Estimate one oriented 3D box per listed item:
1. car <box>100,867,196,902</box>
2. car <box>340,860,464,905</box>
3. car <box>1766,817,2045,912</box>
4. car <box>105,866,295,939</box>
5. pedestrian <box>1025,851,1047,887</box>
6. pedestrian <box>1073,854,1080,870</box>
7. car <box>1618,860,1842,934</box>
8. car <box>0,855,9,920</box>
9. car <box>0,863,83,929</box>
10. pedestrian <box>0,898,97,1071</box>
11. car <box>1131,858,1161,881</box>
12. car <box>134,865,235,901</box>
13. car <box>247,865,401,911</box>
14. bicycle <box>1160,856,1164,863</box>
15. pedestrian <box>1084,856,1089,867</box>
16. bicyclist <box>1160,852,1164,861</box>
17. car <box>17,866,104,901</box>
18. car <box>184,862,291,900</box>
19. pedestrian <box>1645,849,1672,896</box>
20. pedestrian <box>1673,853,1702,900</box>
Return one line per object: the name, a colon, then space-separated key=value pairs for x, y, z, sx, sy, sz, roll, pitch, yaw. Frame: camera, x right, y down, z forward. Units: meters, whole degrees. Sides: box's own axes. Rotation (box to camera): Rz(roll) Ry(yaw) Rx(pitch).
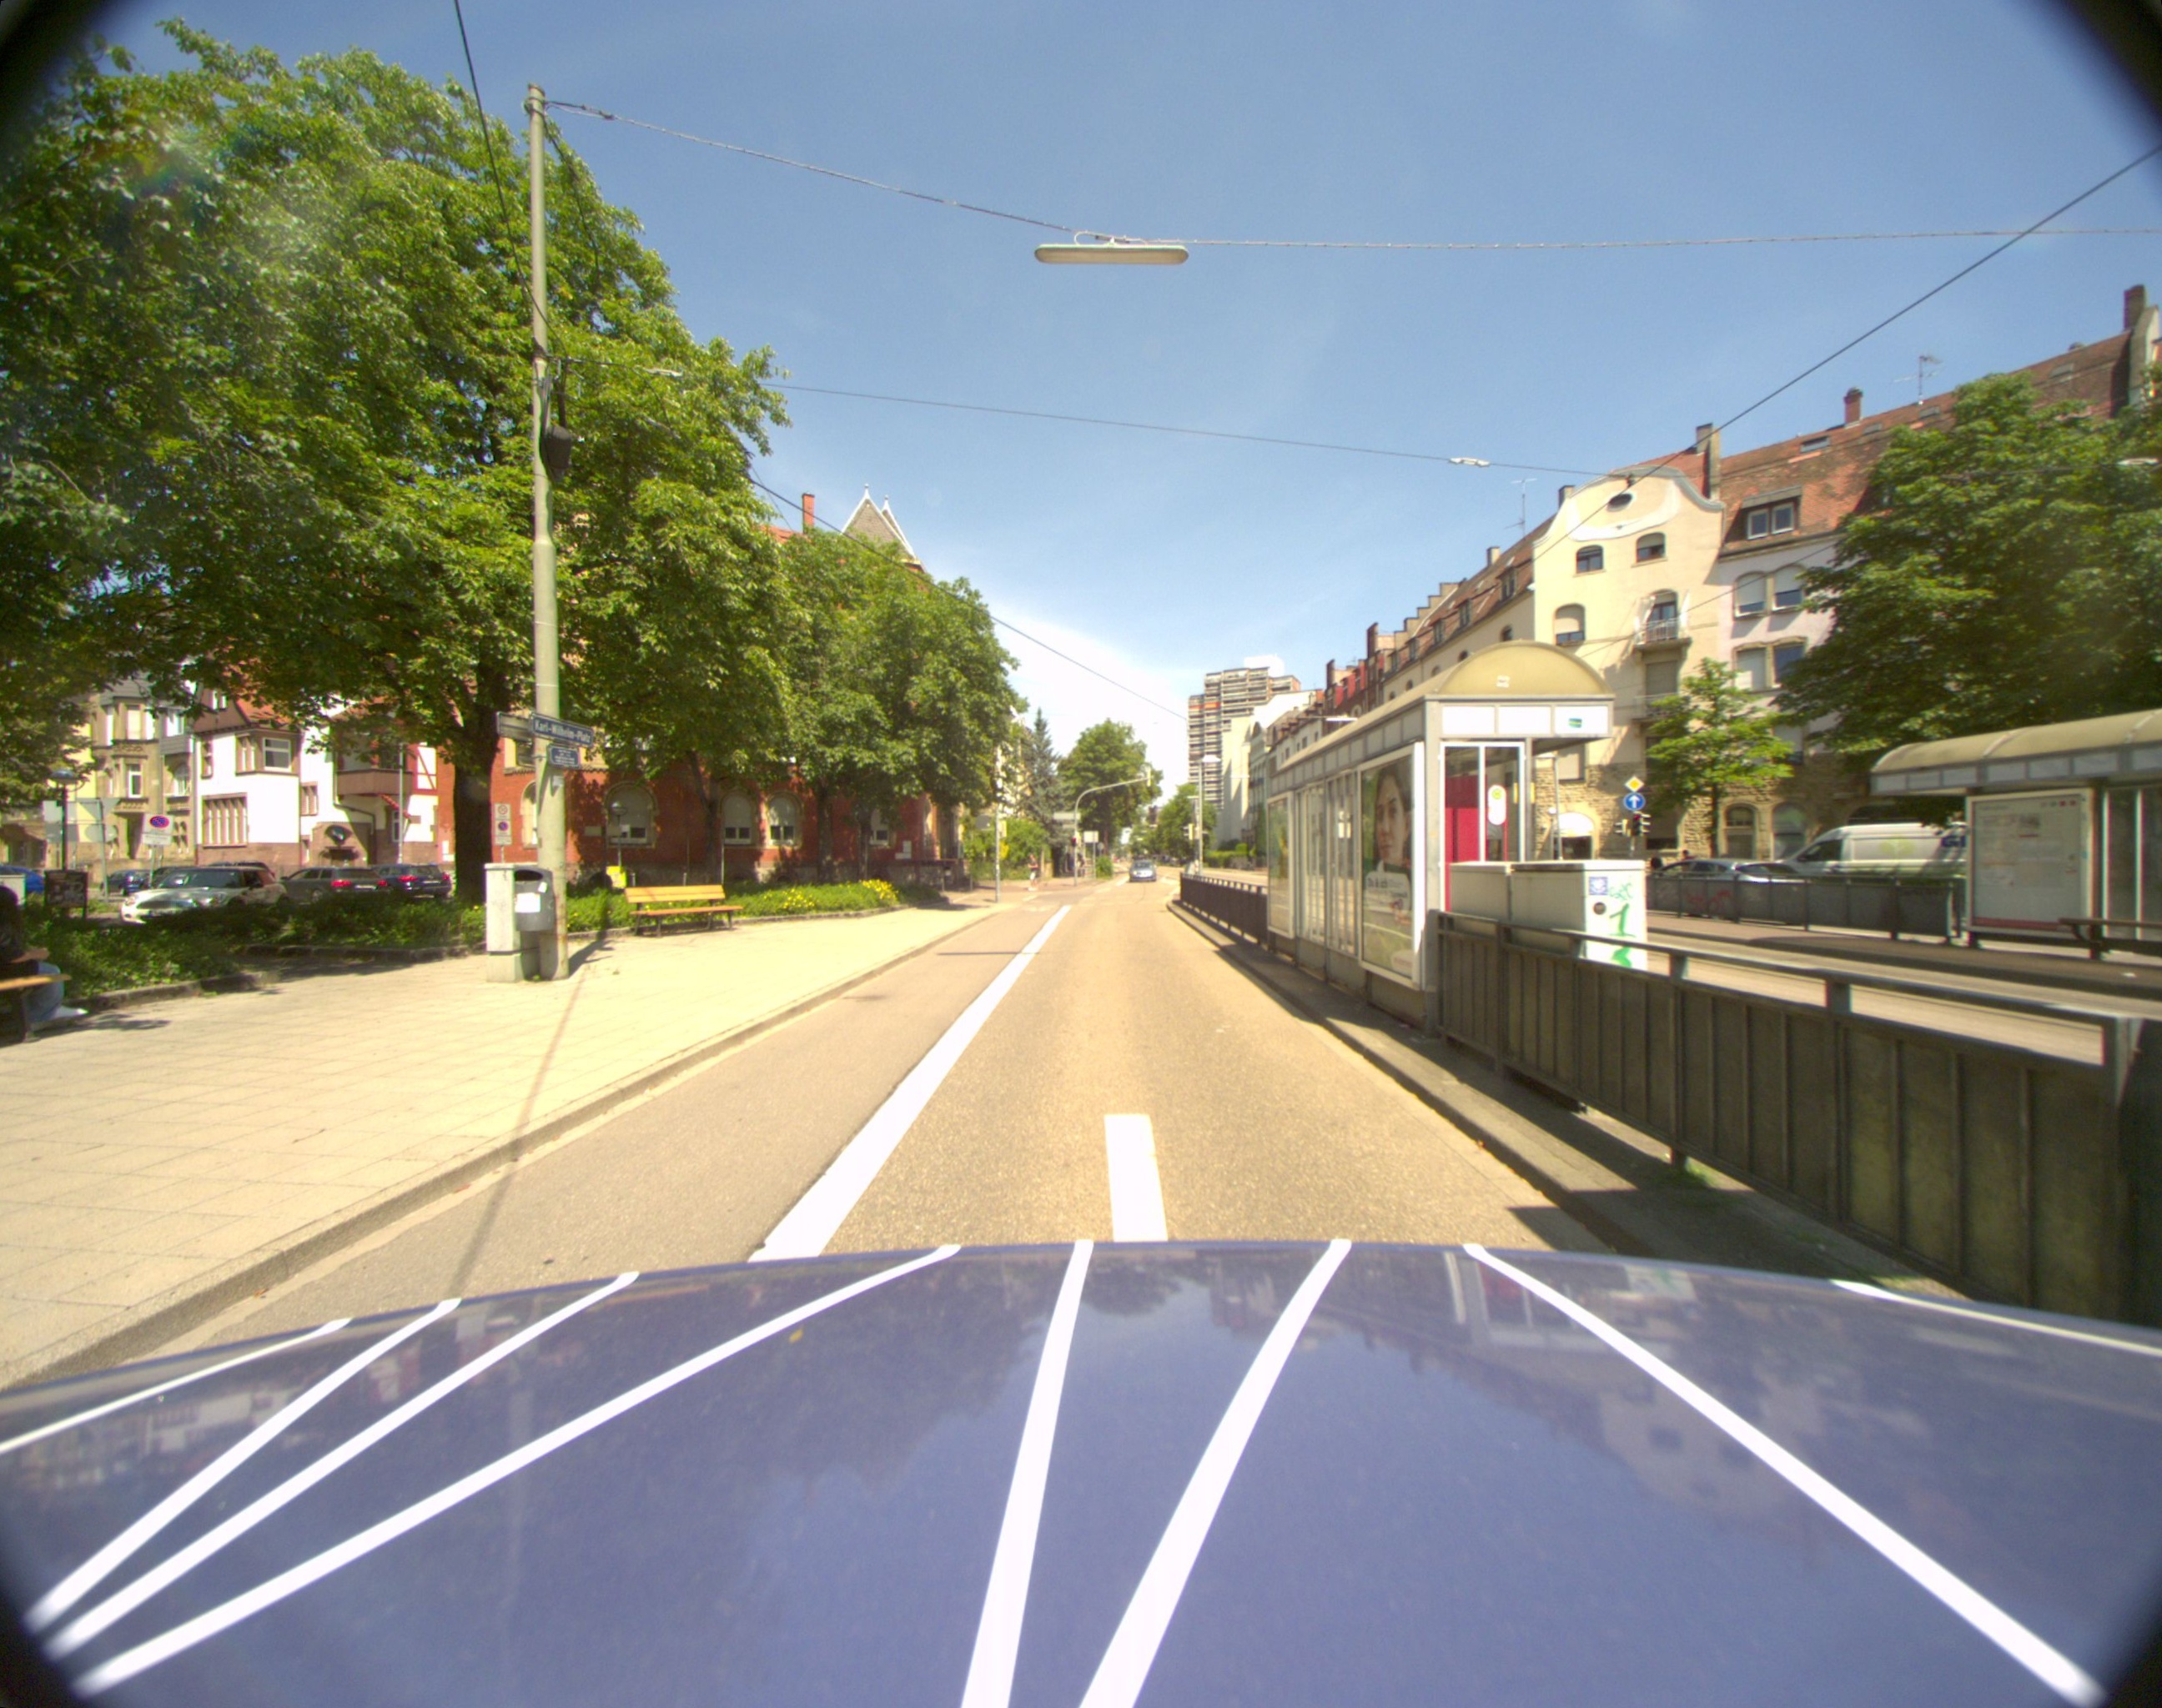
car: x=-48.419 y=1.569 z=39.431 sx=4.299 sy=1.608 sz=1.941 roll=-2 pitch=1 yaw=23
car: x=-27.040 y=1.130 z=30.283 sx=4.299 sy=1.608 sz=1.941 roll=-2 pitch=1 yaw=23
car: x=26.219 y=0.308 z=24.442 sx=2.278 sy=2.658 sz=5.813 roll=-3 pitch=1 yaw=-36
car: x=-20.279 y=1.045 z=17.710 sx=1.708 sy=1.497 sz=3.644 roll=-1 pitch=-1 yaw=-29
pedestrian: x=-2.274 y=0.766 z=38.480 sx=0.840 sy=1.813 sz=0.672 roll=-1 pitch=1 yaw=-35
pedestrian: x=-0.442 y=0.819 z=79.871 sx=0.702 sy=1.645 sz=0.665 roll=0 pitch=0 yaw=1
car: x=14.841 y=0.905 z=17.720 sx=1.812 sy=1.386 sz=3.999 roll=-2 pitch=1 yaw=1
car: x=-37.656 y=1.197 z=23.791 sx=1.934 sy=2.178 sz=4.315 roll=-2 pitch=1 yaw=23
car: x=-32.840 y=1.298 z=22.023 sx=1.934 sy=1.869 sz=4.315 roll=-2 pitch=1 yaw=23
pedestrian: x=-7.741 y=0.908 z=5.413 sx=0.566 sy=1.136 sz=0.725 roll=0 pitch=1 yaw=-16
car: x=4.355 y=1.017 z=50.924 sx=1.895 sy=1.372 sz=4.001 roll=-2 pitch=1 yaw=5
car: x=-44.145 y=1.427 z=37.409 sx=4.299 sy=1.608 sz=1.941 roll=-2 pitch=1 yaw=23
car: x=-27.408 y=1.236 z=27.521 sx=5.024 sy=1.474 sz=1.941 roll=-2 pitch=1 yaw=20
bicycle: x=17.321 y=1.140 z=162.370 sx=0.644 sy=1.503 sz=1.970 roll=-2 pitch=1 yaw=-2
pedestrian: x=0.920 y=1.158 z=118.070 sx=0.686 sy=1.732 sz=0.660 roll=-2 pitch=1 yaw=3
bicyclist: x=17.292 y=0.619 z=162.352 sx=0.644 sy=1.864 sz=0.716 roll=-2 pitch=1 yaw=-2
car: x=-59.174 y=1.706 z=44.077 sx=4.299 sy=1.862 sz=1.941 roll=-2 pitch=1 yaw=23
car: x=-39.586 y=1.271 z=35.663 sx=4.299 sy=1.608 sz=1.941 roll=-2 pitch=1 yaw=23
pedestrian: x=20.091 y=0.645 z=26.438 sx=0.594 sy=1.637 sz=0.474 roll=0 pitch=0 yaw=1
pedestrian: x=20.291 y=0.748 z=25.419 sx=0.594 sy=1.542 sz=0.474 roll=0 pitch=0 yaw=-1
